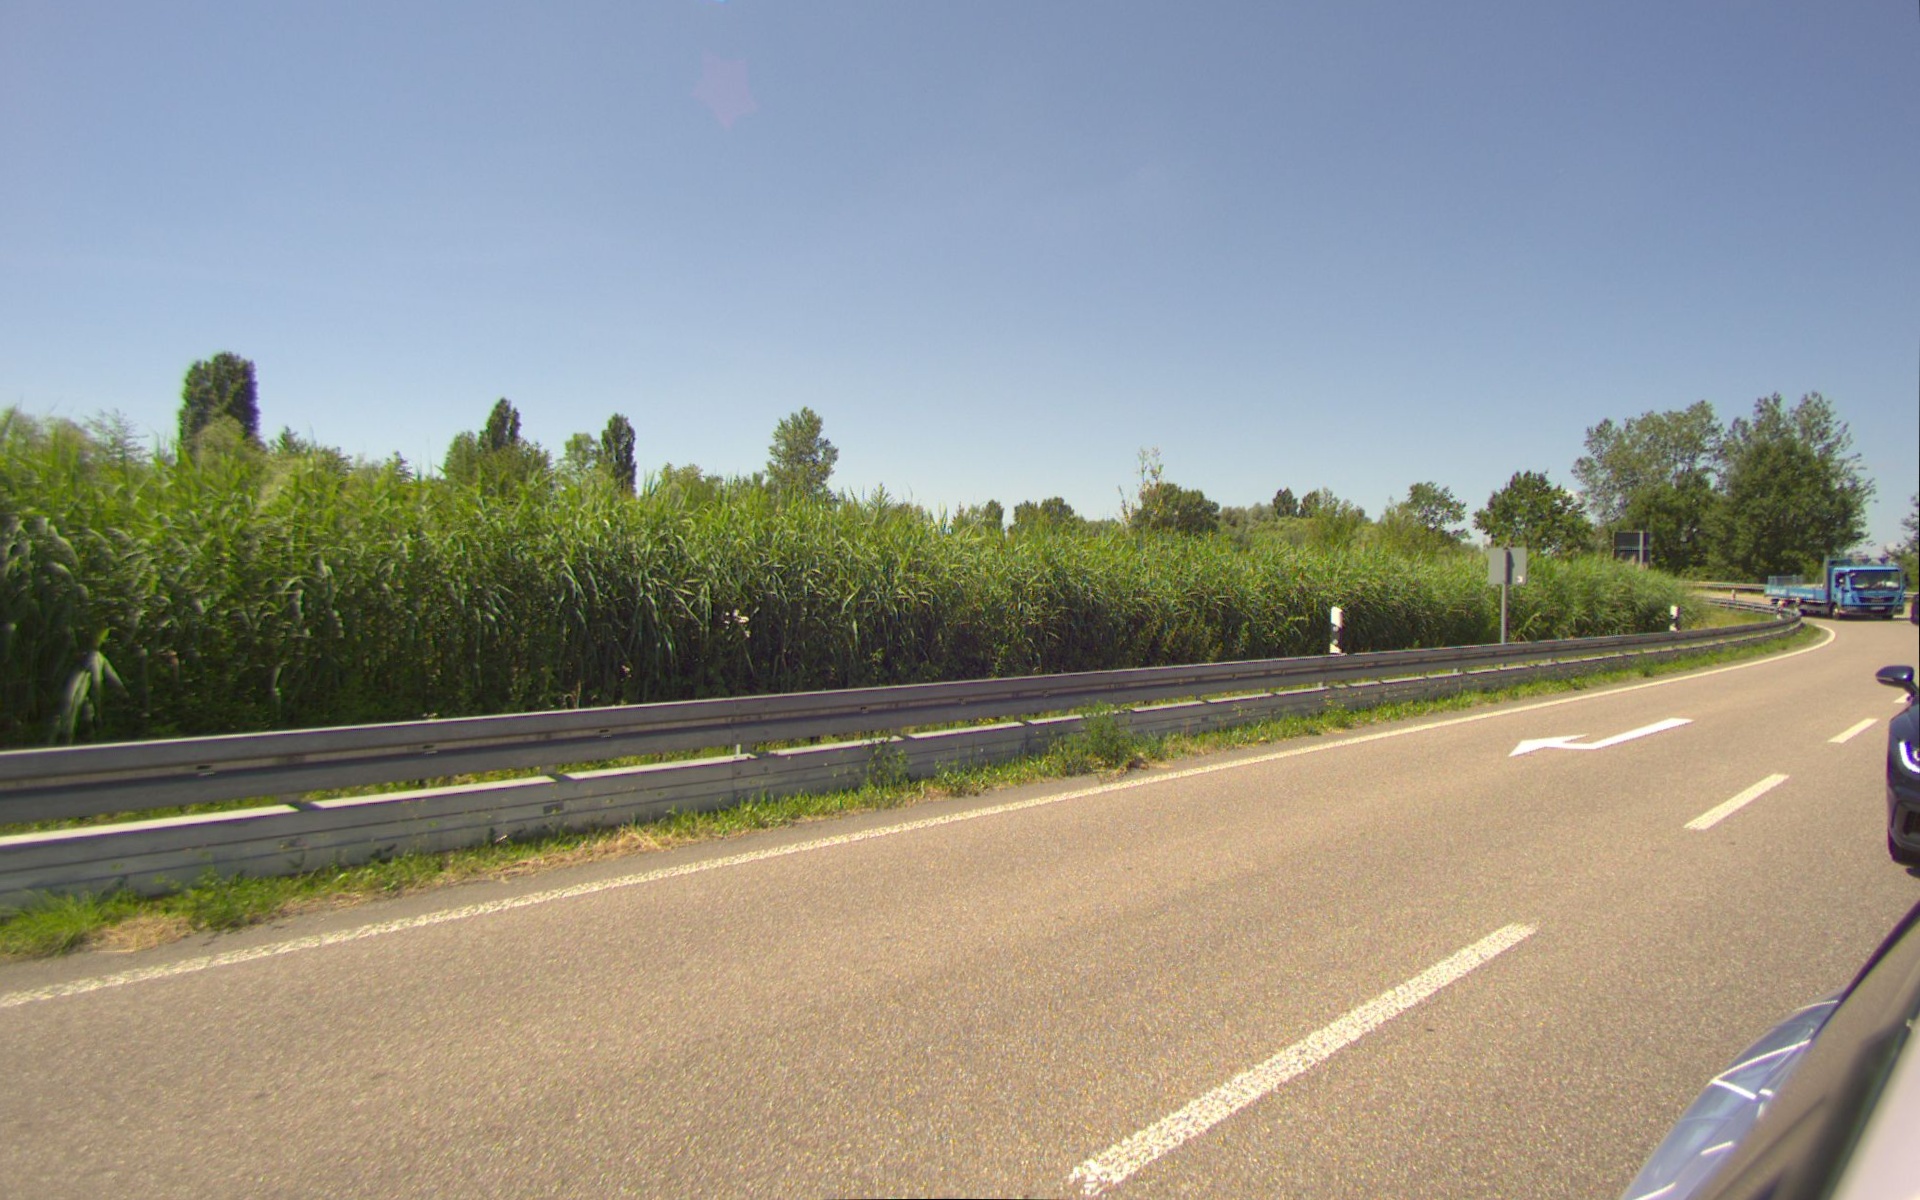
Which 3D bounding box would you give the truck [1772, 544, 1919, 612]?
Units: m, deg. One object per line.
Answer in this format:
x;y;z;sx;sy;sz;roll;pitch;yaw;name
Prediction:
44.299;-1.107;50.801;2.544;3.108;9.025;0;1;19;truck

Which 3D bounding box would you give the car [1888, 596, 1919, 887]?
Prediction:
6.711;0.690;5.724;3.931;1.427;1.759;-1;1;-41;car
